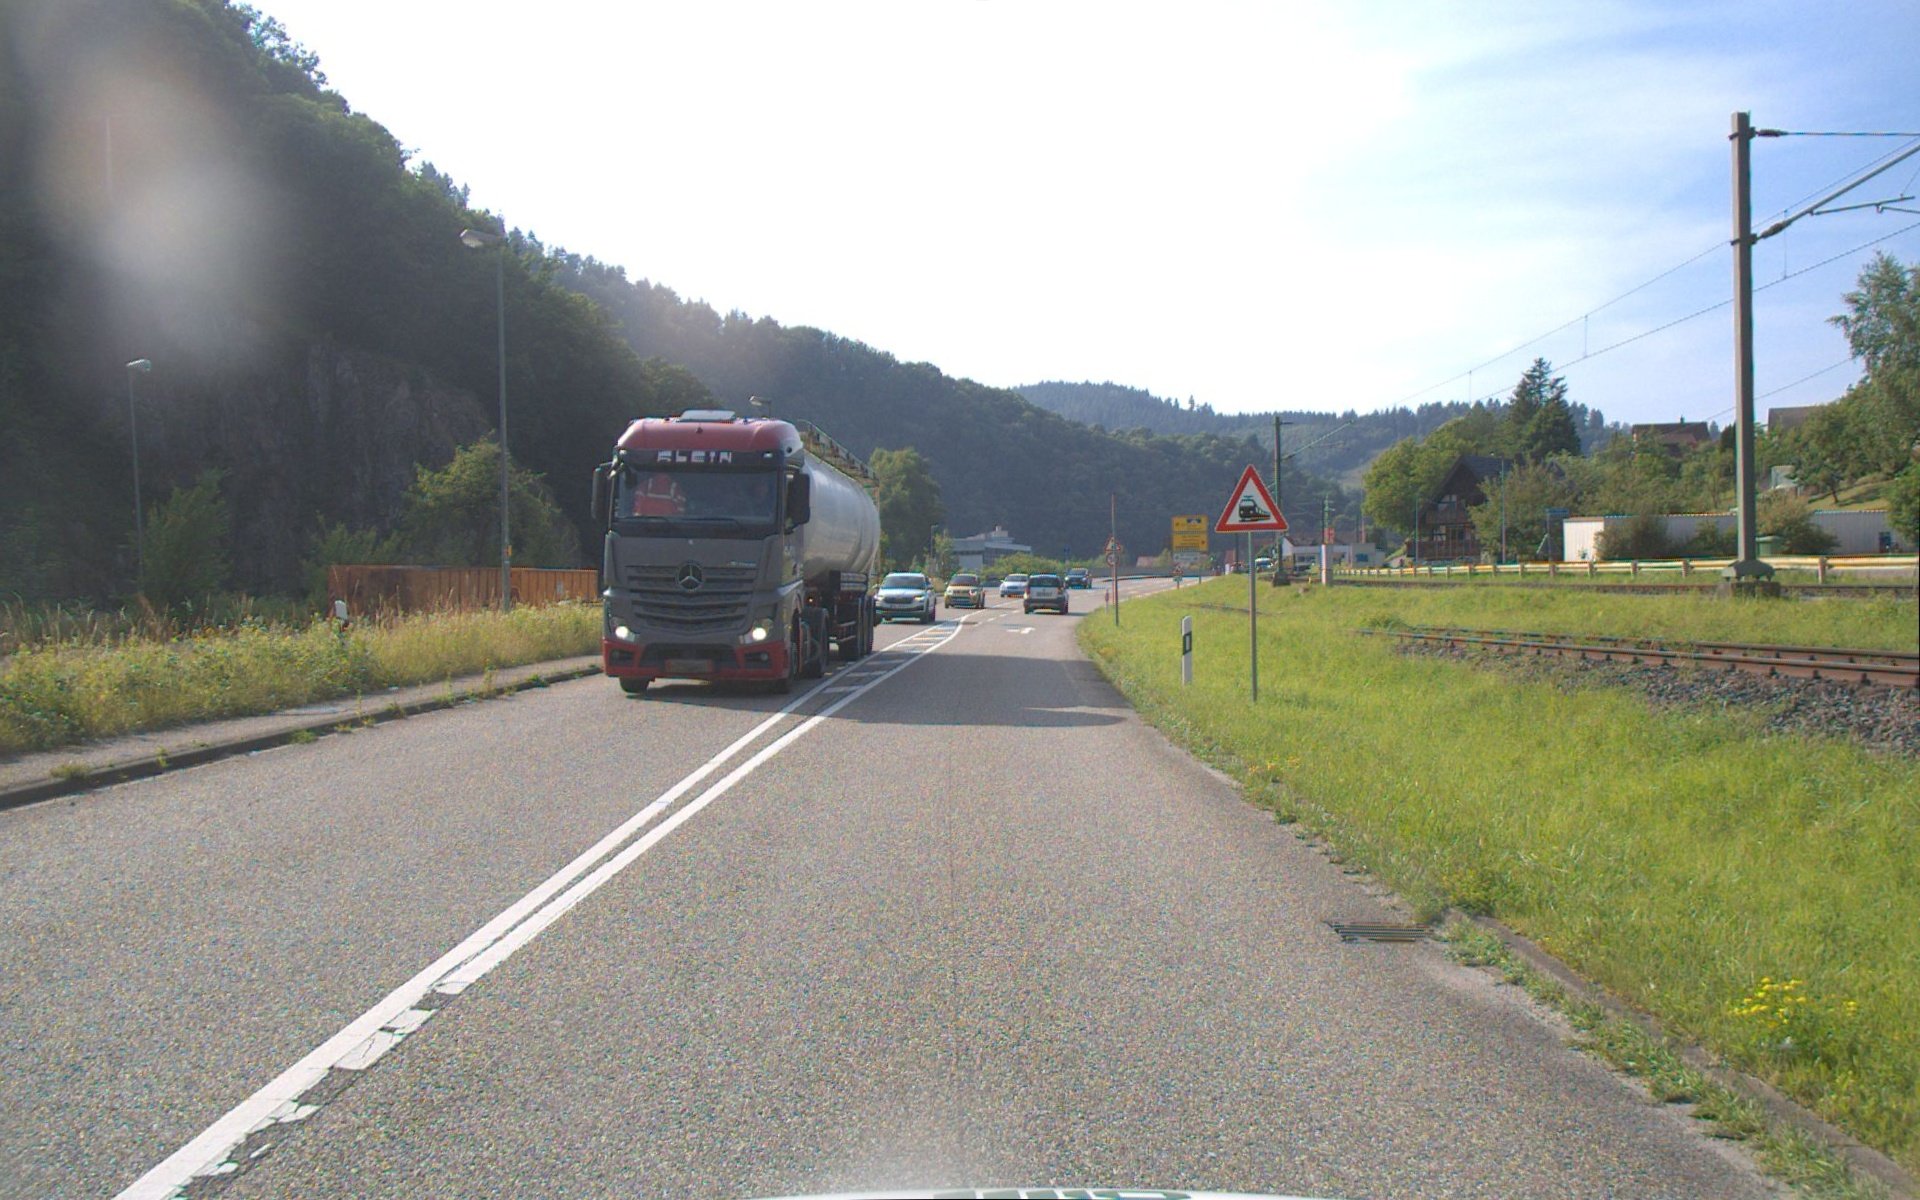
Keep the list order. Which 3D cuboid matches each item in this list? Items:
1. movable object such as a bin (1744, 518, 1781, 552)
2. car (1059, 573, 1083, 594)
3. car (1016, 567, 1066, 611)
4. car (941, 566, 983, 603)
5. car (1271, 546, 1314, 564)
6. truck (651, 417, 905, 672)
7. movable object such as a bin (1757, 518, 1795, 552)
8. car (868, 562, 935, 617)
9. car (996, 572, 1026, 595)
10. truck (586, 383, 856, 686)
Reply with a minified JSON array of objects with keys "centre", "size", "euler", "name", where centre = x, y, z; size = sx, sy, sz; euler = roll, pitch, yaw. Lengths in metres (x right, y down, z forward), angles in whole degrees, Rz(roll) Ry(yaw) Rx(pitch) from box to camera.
[{"centre":[26.013,-2.105,53.618],"size":[0.790,1.068,0.912],"euler":[1,1,5],"name":"movable object such as a bin"},{"centre":[8.791,-1.302,130.833],"size":[1.808,1.612,4.319],"euler":[1,1,5],"name":"car"},{"centre":[3.506,-0.483,71.171],"size":[1.952,1.753,3.992],"euler":[-3,1,4],"name":"car"},{"centre":[0.111,-0.752,77.781],"size":[1.687,1.653,3.799],"euler":[1,1,5],"name":"car"},{"centre":[42.831,-5.755,213.095],"size":[5.167,2.048,2.002],"euler":[-3,1,16],"name":"car"},{"centre":[-3.039,-0.956,32.654],"size":[2.692,3.902,14.568],"euler":[0,1,3],"name":"truck"},{"centre":[25.950,-2.073,52.607],"size":[0.790,1.068,0.912],"euler":[1,1,5],"name":"movable object such as a bin"},{"centre":[-1.968,-0.374,56.782],"size":[1.952,1.789,4.471],"euler":[1,1,2],"name":"car"},{"centre":[3.185,-1.027,102.550],"size":[1.741,1.371,4.513],"euler":[1,1,3],"name":"car"},{"centre":[-3.339,-0.896,25.419],"size":[2.693,3.902,8.200],"euler":[0,1,2],"name":"truck"}]
